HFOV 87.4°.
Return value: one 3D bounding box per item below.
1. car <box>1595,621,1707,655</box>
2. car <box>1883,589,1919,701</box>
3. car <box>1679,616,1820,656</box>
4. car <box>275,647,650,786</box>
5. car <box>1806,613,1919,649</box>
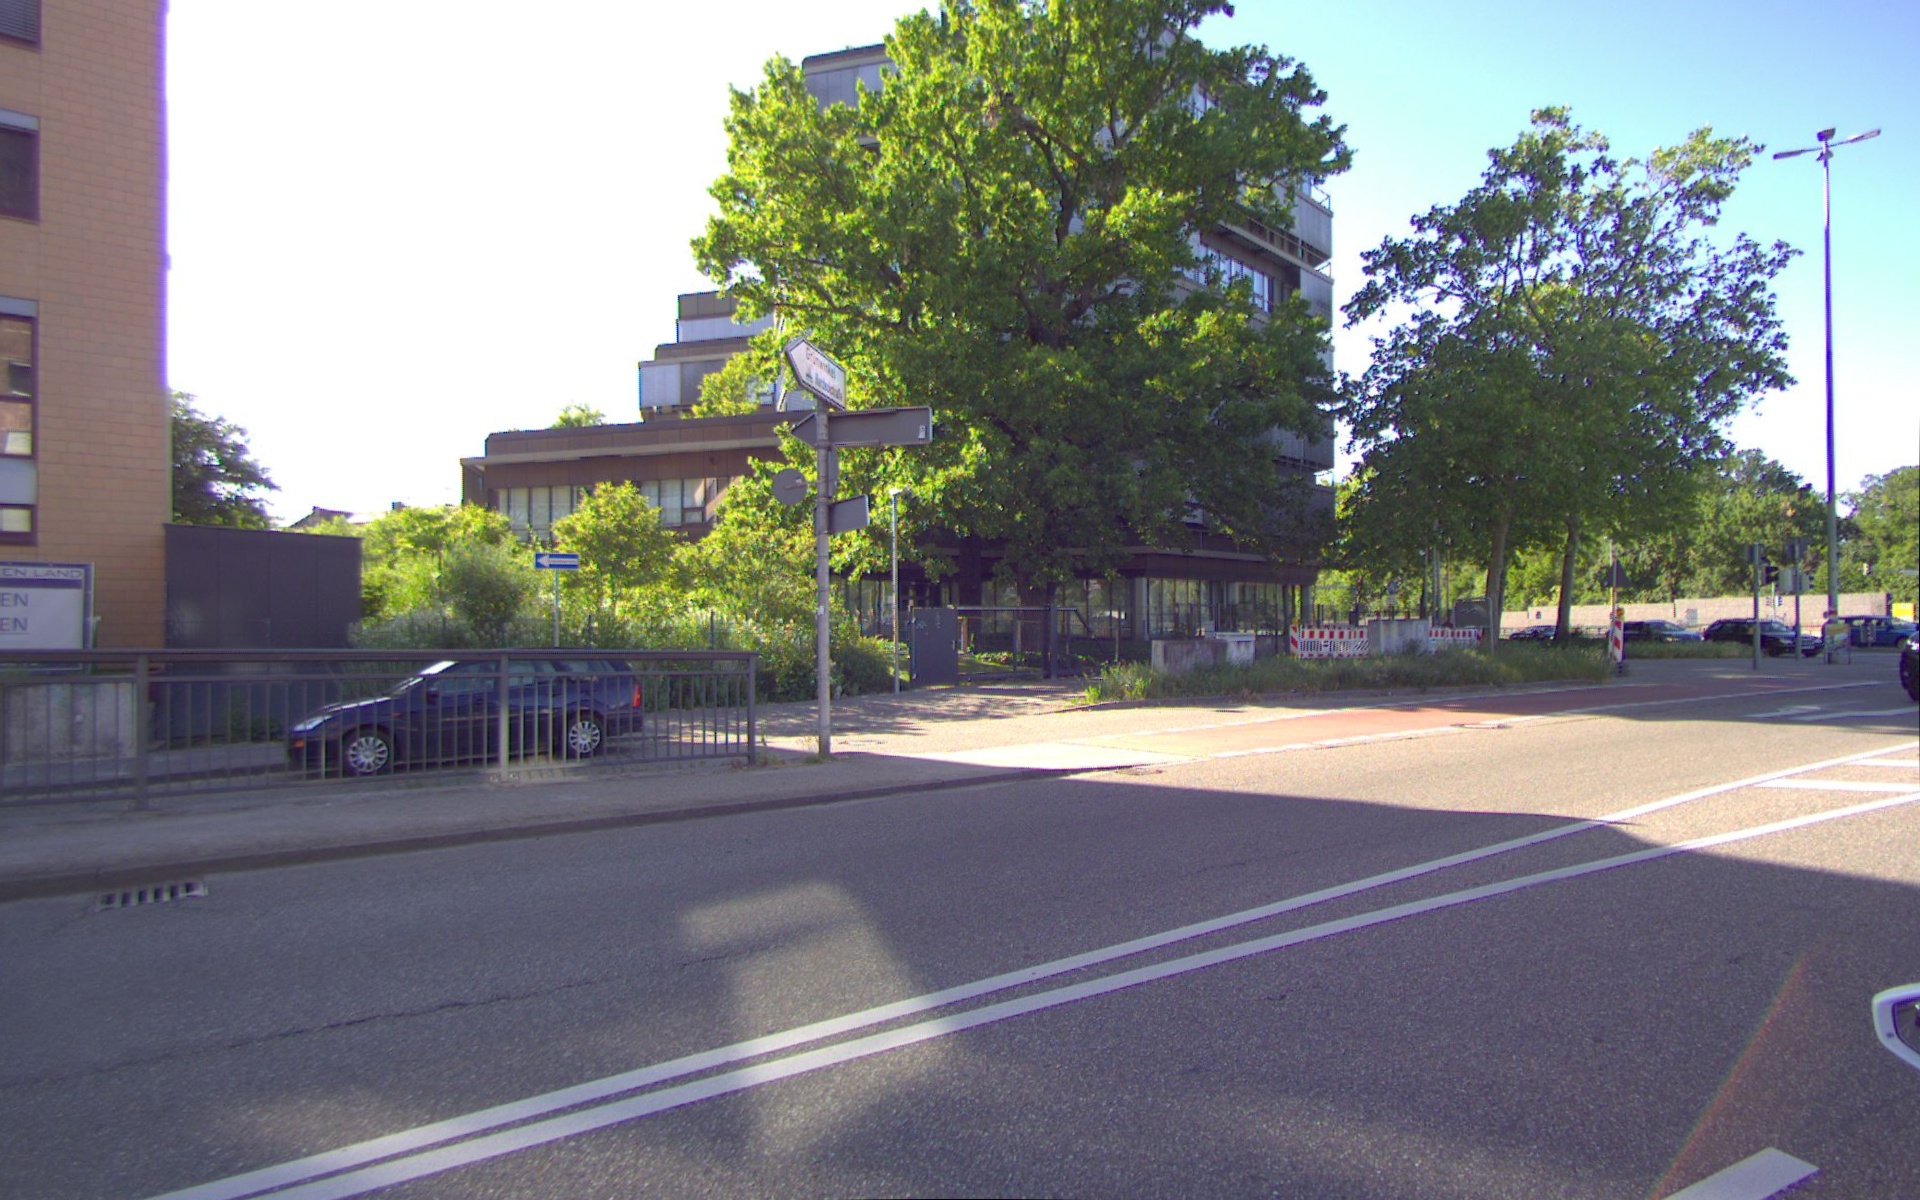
[{"bbox_3d":[31.492,1.718,45.955,1.791,1.457,4.449,-1,-2,-4],"label":"car"},{"bbox_3d":[19.089,0.775,18.279,4.793,1.961,1.985,0,-1,-29],"label":"car"},{"bbox_3d":[30.890,1.393,39.494,1.791,1.457,4.449,-1,-2,-4],"label":"car"},{"bbox_3d":[-6.713,1.455,13.761,4.407,1.523,1.808,1,-2,-35],"label":"car"},{"bbox_3d":[39.769,1.337,43.653,1.794,1.457,4.442,0,-2,-12],"label":"car"}]
